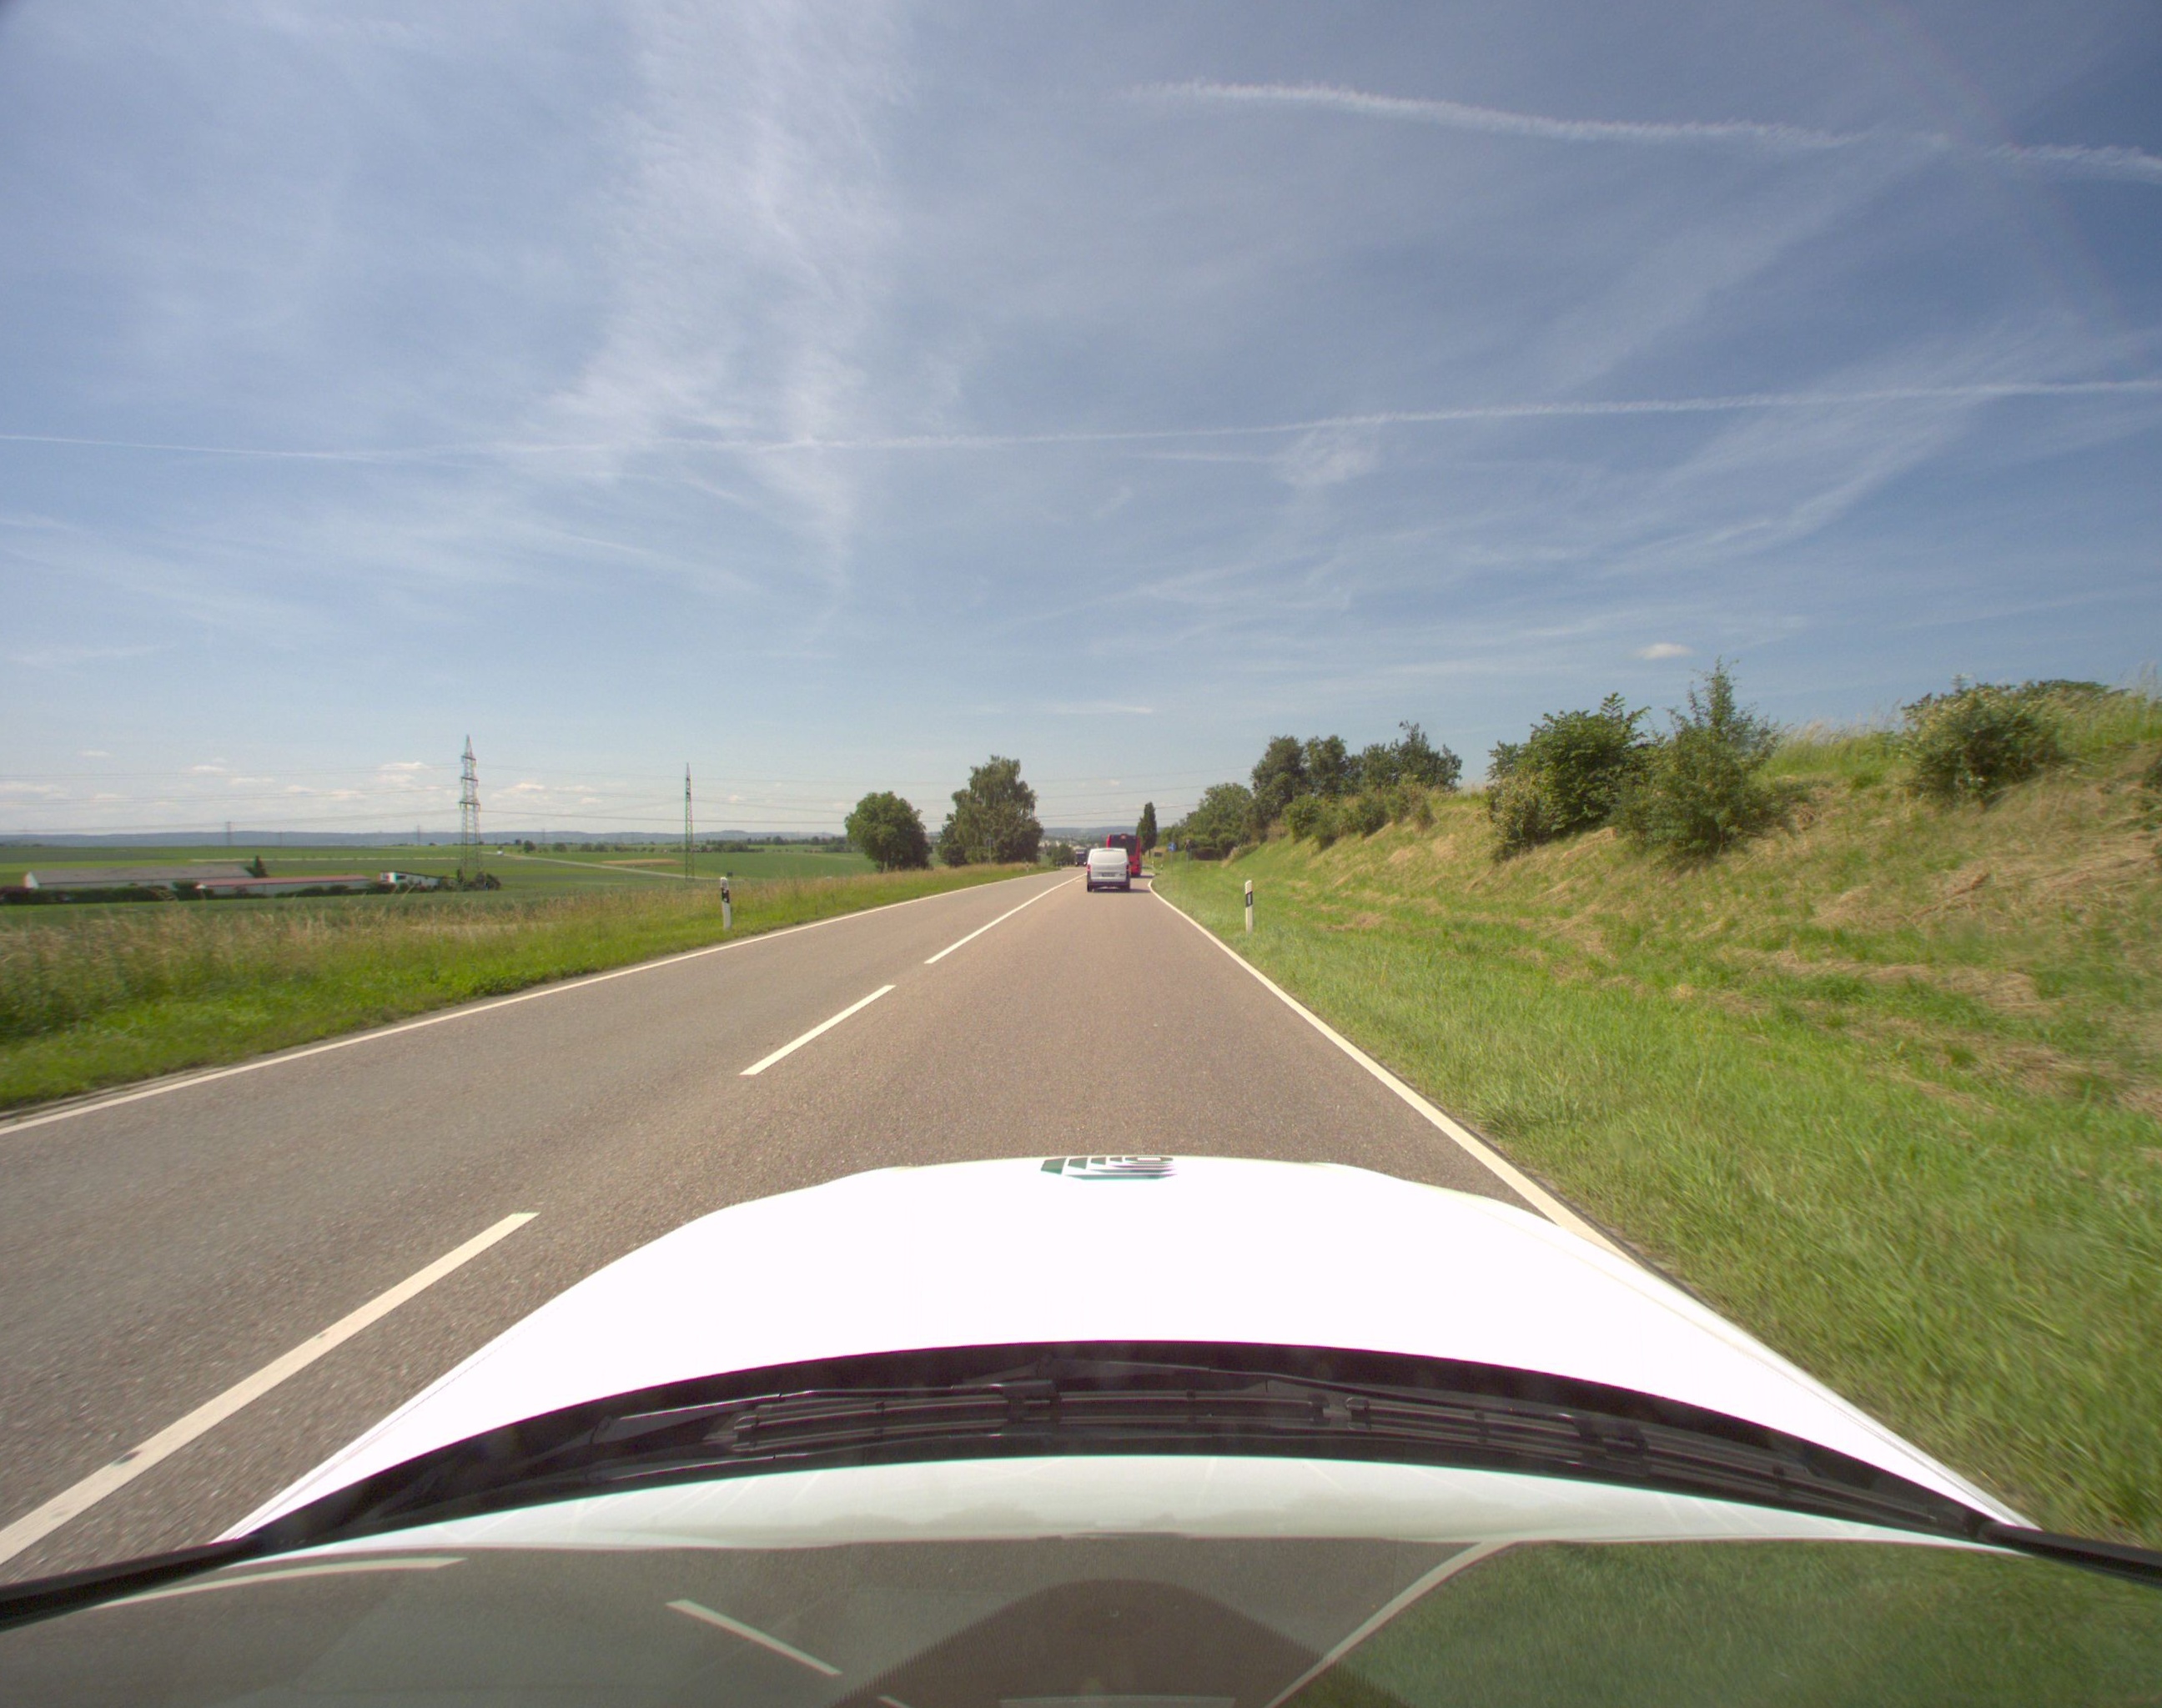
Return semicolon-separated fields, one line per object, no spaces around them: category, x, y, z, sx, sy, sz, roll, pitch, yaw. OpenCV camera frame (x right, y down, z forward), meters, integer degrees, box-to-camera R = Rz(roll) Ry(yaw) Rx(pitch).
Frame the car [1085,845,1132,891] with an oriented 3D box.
car;1.230;0.601;36.156;1.916;1.889;4.002;-1;0;2

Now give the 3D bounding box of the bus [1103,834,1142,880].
bus;3.477;0.076;66.981;2.735;3.353;13.235;-2;1;3

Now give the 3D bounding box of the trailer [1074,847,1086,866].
trailer;-0.260;0.510;185.542;2.584;4.143;13.737;0;0;0

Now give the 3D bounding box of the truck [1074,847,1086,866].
truck;-0.264;0.484;178.421;2.576;4.104;5.441;0;-1;0
